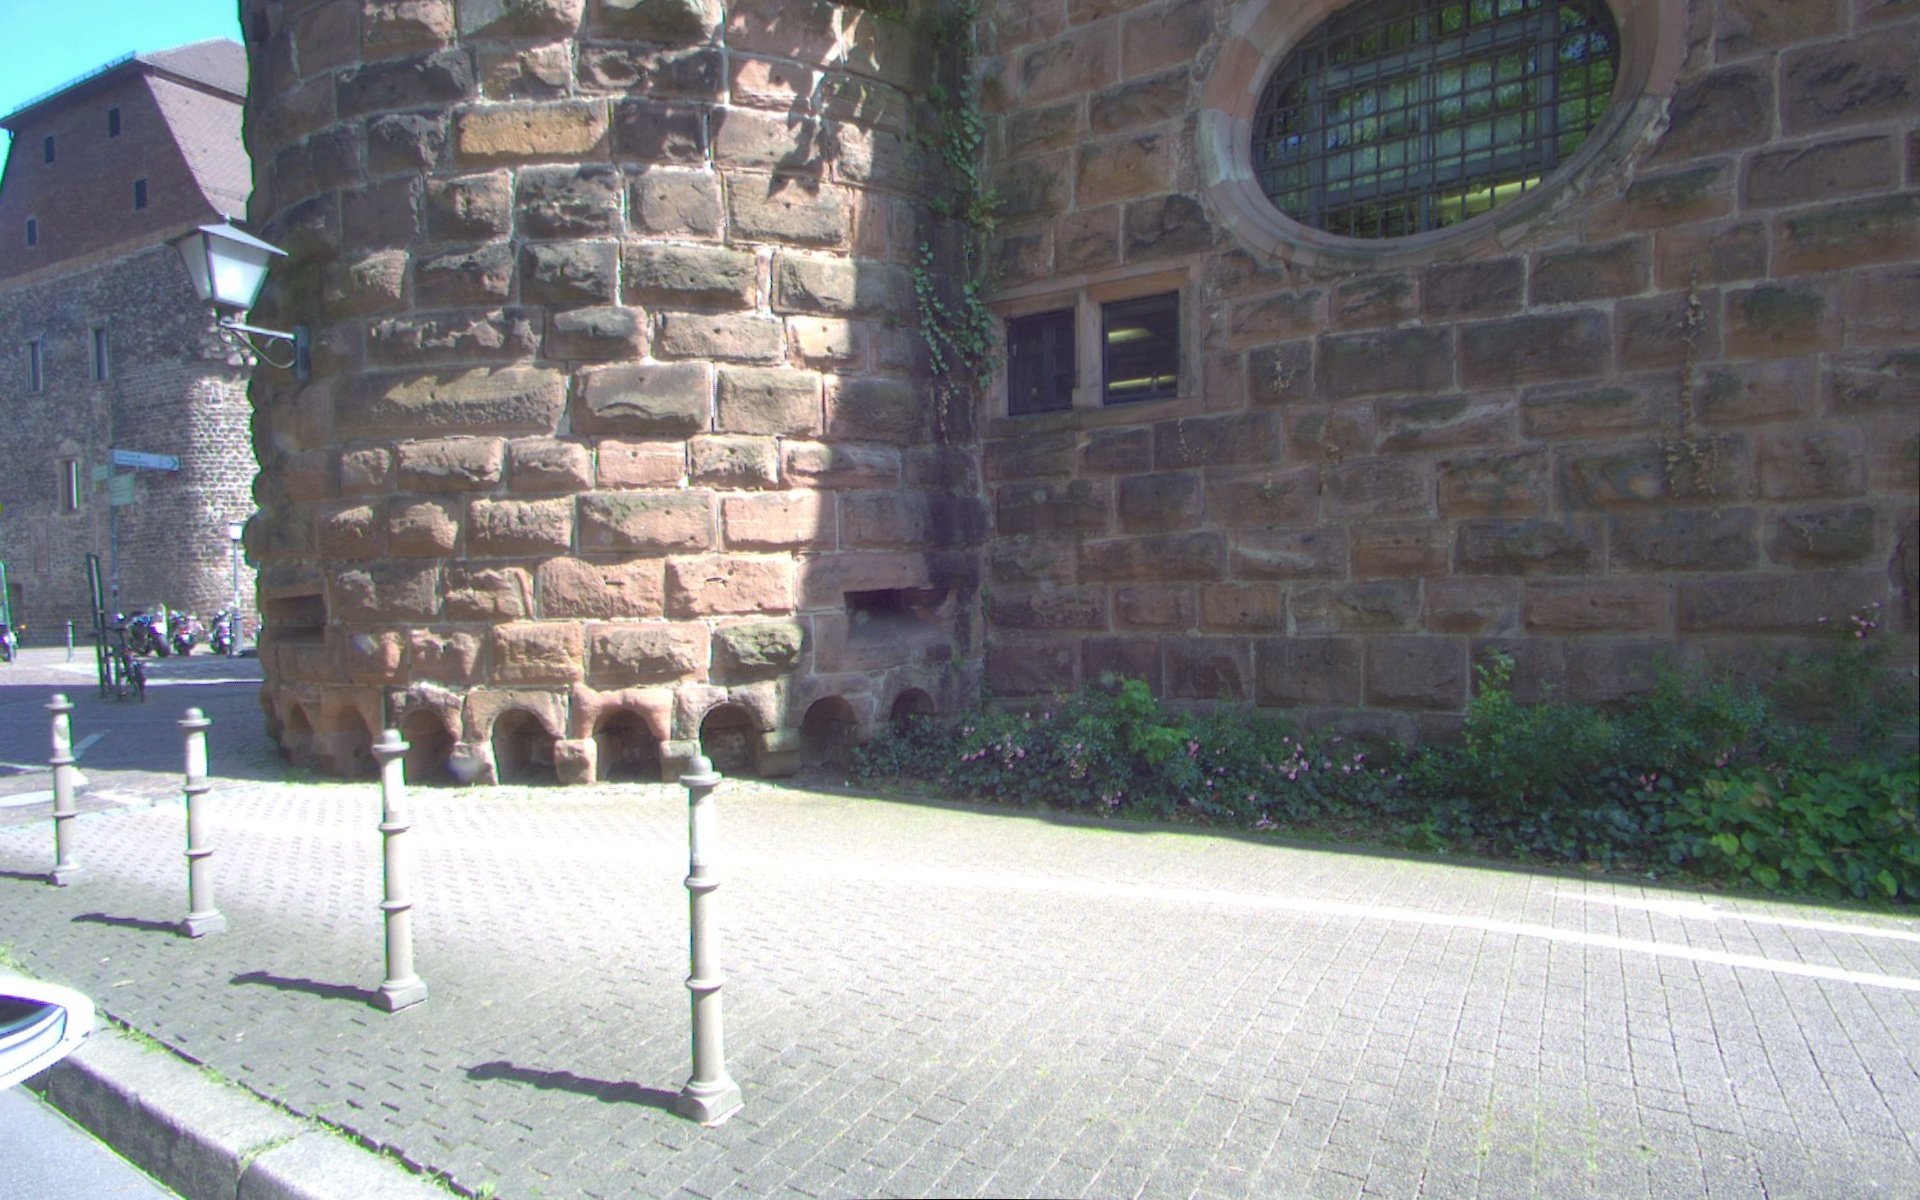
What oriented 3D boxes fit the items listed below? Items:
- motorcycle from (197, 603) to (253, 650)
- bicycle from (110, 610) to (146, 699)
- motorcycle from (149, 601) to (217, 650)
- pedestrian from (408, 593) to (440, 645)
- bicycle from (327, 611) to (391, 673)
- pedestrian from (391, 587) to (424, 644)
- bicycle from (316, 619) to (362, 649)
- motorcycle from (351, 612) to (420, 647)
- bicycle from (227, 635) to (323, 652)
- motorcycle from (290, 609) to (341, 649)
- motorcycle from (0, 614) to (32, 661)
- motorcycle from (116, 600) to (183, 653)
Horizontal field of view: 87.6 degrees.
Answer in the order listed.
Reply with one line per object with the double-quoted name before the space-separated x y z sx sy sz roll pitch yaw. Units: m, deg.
"motorcycle" -19.952 0.721 27.172 2.002 1.251 0.545 -1 -2 32
"bicycle" -12.047 0.754 14.488 1.750 1.220 0.192 0 1 44
"motorcycle" -20.486 0.674 26.379 2.280 1.251 0.674 -1 -2 32
"pedestrian" -18.876 0.670 35.265 0.831 1.826 0.653 0 0 -10
"bicycle" -11.944 0.805 19.870 1.707 1.178 0.445 0 1 36
"pedestrian" -20.137 0.570 36.479 0.724 2.039 0.871 -1 -2 42
"bicycle" -18.372 0.996 29.612 1.898 0.831 0.353 0 -1 32
"motorcycle" -18.020 0.933 31.441 0.474 1.067 1.858 -1 -2 40
"bicycle" -17.516 1.113 25.618 1.916 0.386 0.909 0 -2 -44
"motorcycle" -18.091 0.820 28.096 1.814 1.087 0.506 -1 -2 32
"motorcycle" -22.196 0.837 23.062 2.453 1.026 0.565 0 1 32
"motorcycle" -20.586 0.675 25.423 2.169 1.282 0.654 -1 -1 32
